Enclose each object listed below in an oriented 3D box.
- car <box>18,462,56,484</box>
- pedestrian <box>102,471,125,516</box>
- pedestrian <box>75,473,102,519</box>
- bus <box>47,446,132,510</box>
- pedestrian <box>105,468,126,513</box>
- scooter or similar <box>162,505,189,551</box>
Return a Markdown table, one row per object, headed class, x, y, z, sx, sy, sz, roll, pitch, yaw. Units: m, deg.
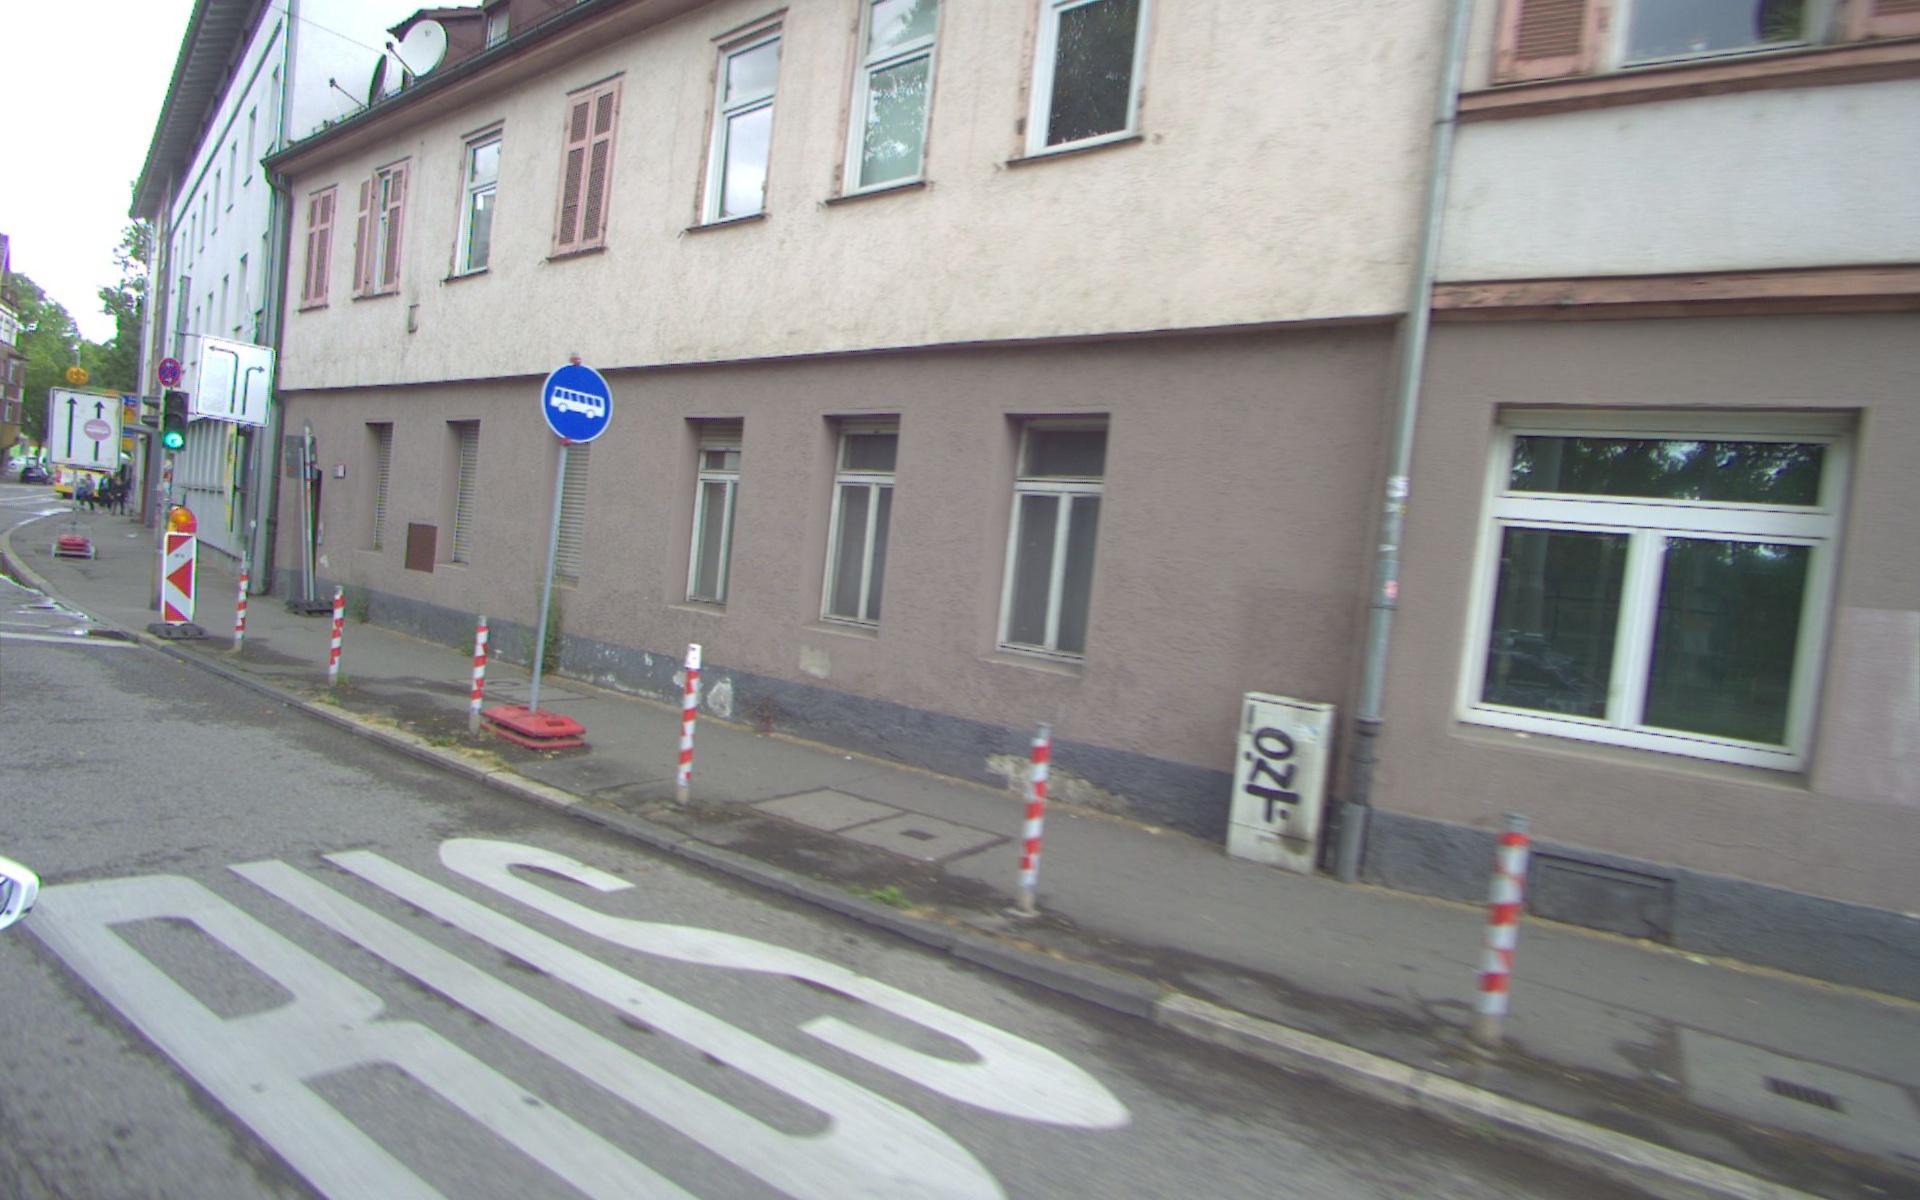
| class | x | y | z | sx | sy | sz | roll | pitch | yaw |
| --- | --- | --- | --- | --- | --- | --- | --- | --- | --- |
| car | -79.883 | -11.027 | 87.124 | 1.714 | 1.505 | 4.345 | 6 | 3 | -35 |
| pedestrian | -35.656 | -4.485 | 42.386 | 0.683 | 1.782 | 0.867 | 1 | 6 | -42 |
| pedestrian | -36.736 | -4.382 | 42.403 | 0.799 | 1.819 | 0.931 | 1 | 6 | -42 |
| bus | -52.919 | -7.385 | 61.373 | 2.648 | 3.175 | 9.938 | 8 | 1 | -36 |
| pedestrian | -35.052 | -4.558 | 41.763 | 0.537 | 1.782 | 0.603 | 3 | 5 | -29 |
| scooter or similar | -20.876 | -1.930 | 26.762 | 0.426 | 1.112 | 1.421 | 2 | 5 | -43 |
